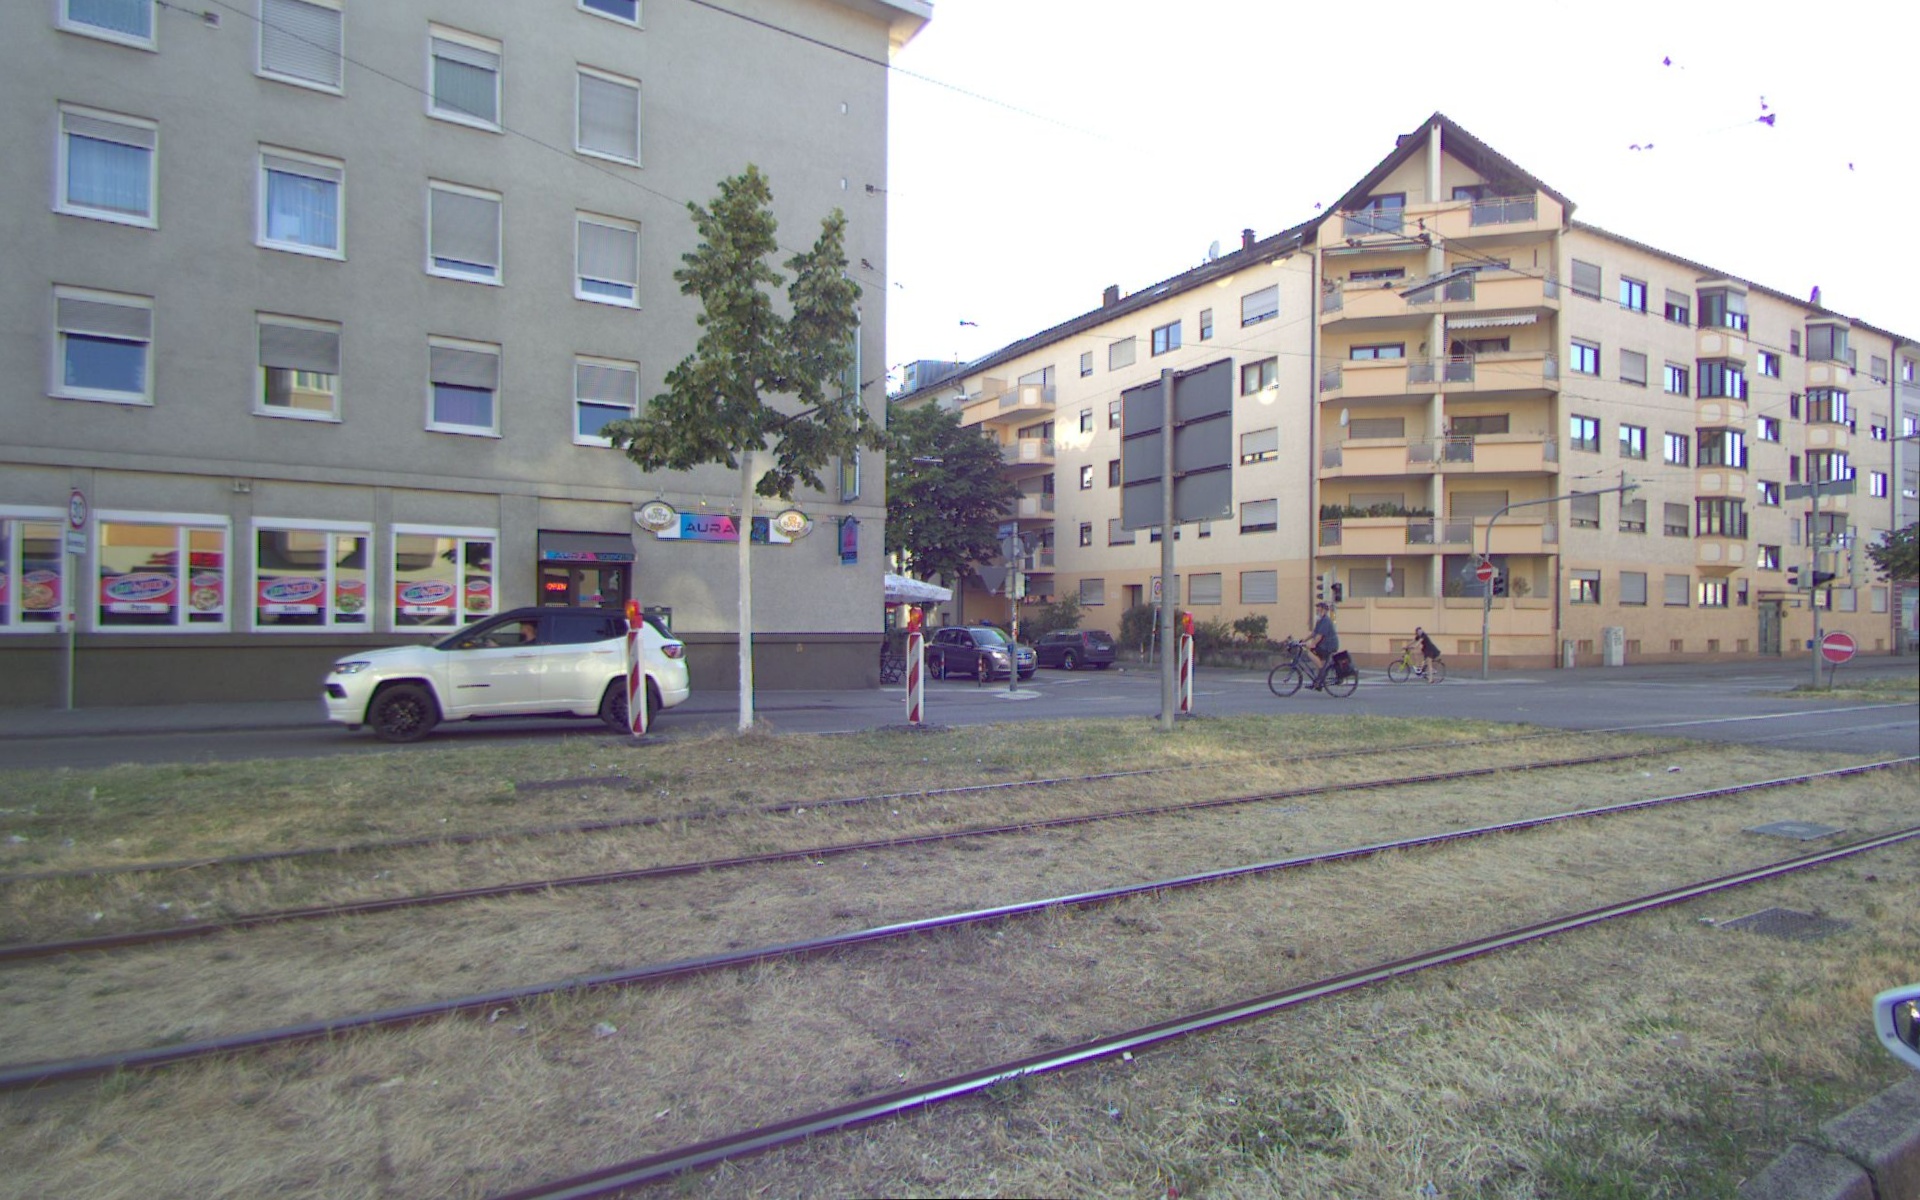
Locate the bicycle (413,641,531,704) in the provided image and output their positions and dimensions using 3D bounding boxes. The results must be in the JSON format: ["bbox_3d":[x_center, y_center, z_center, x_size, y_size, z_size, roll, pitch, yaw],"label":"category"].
[{"bbox_3d":[-8.593,1.256,17.714,1.823,1.037,0.605,2,0,-31],"label":"bicycle"}]

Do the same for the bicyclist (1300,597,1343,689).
[{"bbox_3d":[7.660,0.902,21.265,0.793,1.907,0.653,-1,0,22],"label":"bicyclist"}]

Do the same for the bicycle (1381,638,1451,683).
[{"bbox_3d":[13.312,1.771,29.367,1.833,1.274,0.457,0,0,3],"label":"bicycle"}]

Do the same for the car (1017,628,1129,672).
[{"bbox_3d":[4.164,1.811,37.574,1.982,1.462,3.957,-1,0,-38],"label":"car"}]

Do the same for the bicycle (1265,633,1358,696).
[{"bbox_3d":[7.466,1.360,21.362,1.834,1.274,0.456,0,0,23],"label":"bicycle"}]

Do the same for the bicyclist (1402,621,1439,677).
[{"bbox_3d":[13.474,1.420,29.395,0.793,1.607,0.628,0,0,4],"label":"bicyclist"}]

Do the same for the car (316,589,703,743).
[{"bbox_3d":[-5.765,0.846,13.308,4.332,1.757,1.989,1,-3,-24],"label":"car"}]

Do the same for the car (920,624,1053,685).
[{"bbox_3d":[0.761,1.648,31.462,1.982,1.645,4.153,-3,1,-38],"label":"car"}]

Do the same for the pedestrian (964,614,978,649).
[{"bbox_3d":[0.526,1.548,49.502,0.456,1.727,0.589,2,0,-24],"label":"pedestrian"}]
